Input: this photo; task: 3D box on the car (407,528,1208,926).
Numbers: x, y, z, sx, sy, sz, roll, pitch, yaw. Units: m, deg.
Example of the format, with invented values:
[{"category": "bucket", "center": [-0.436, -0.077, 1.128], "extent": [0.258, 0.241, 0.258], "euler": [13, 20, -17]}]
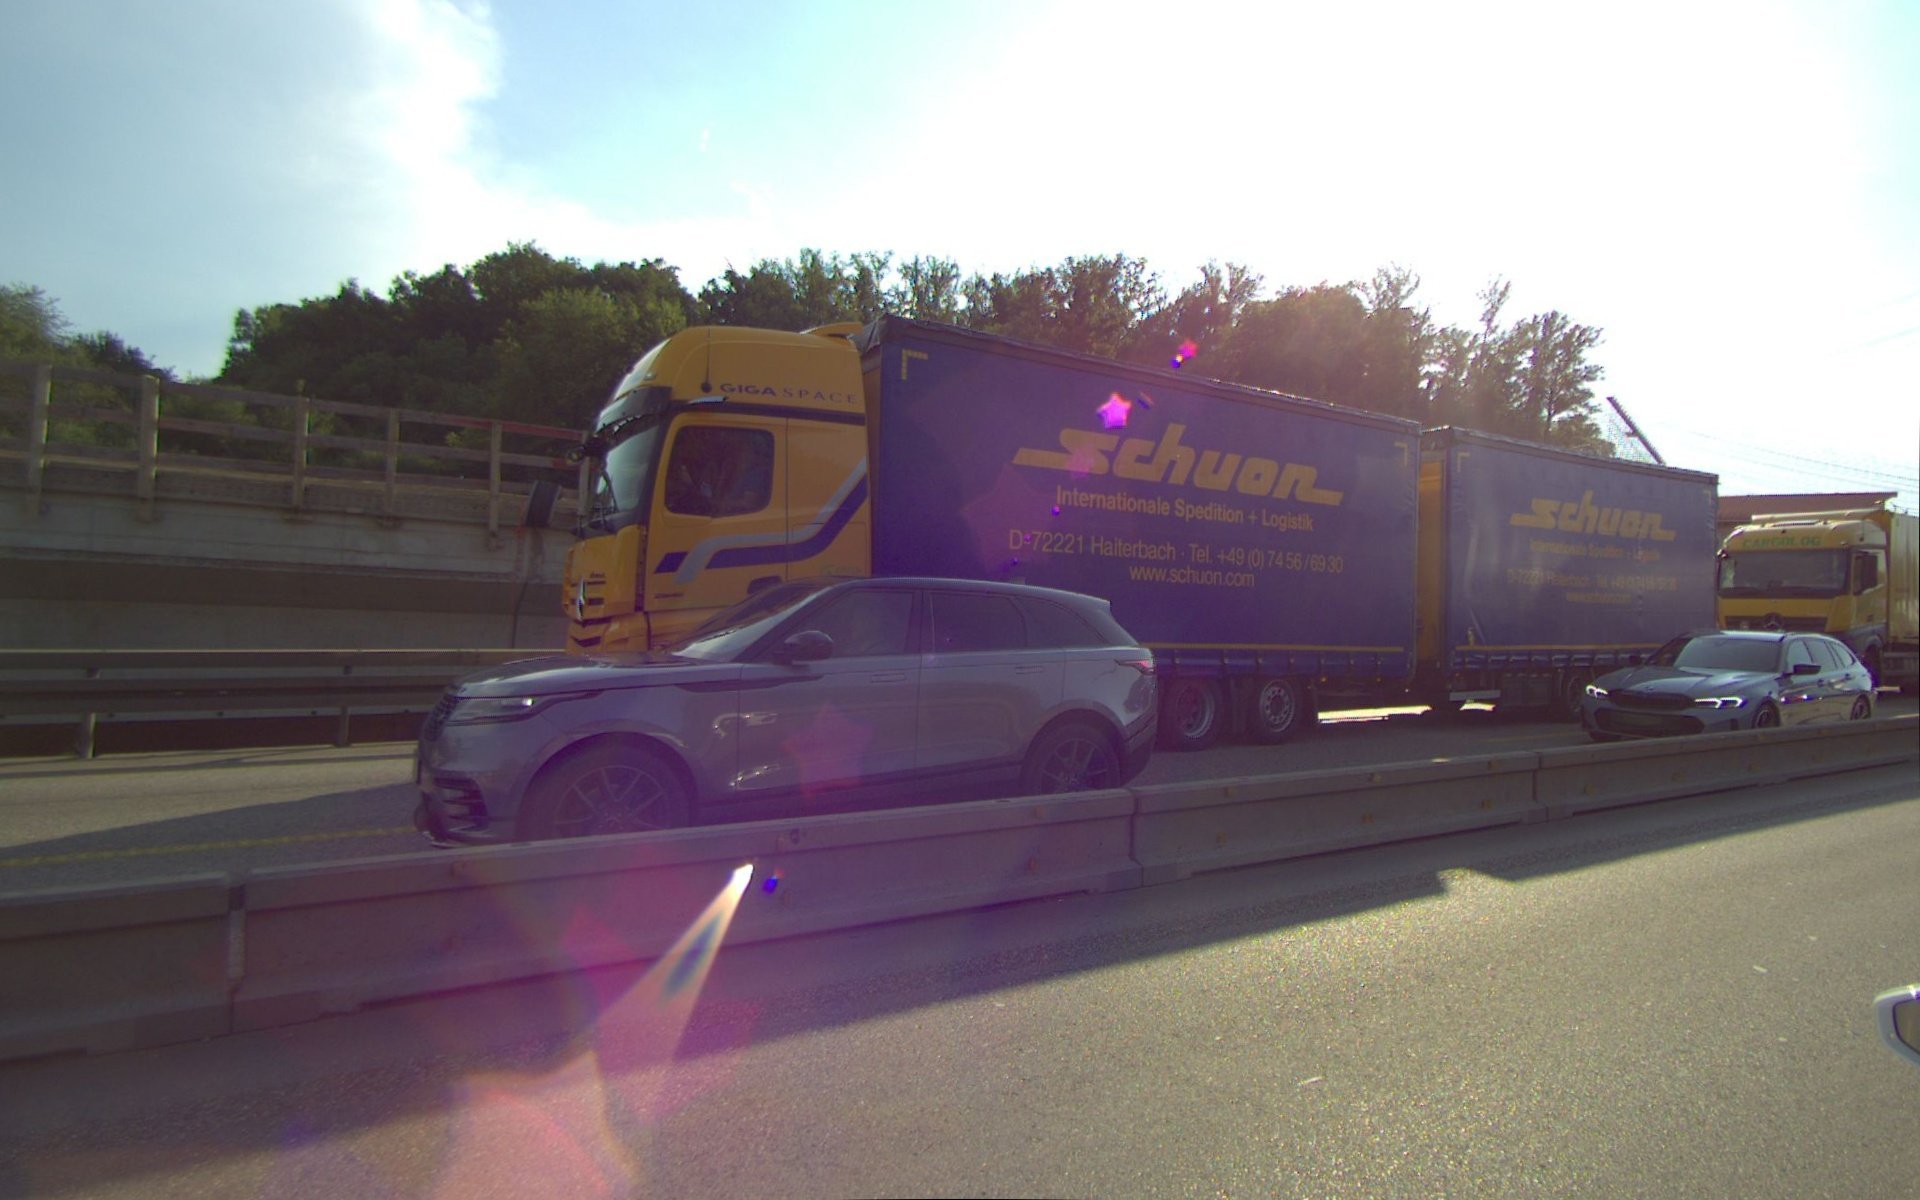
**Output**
[{"category": "car", "center": [-0.814, 0.655, 6.383], "extent": [4.638, 1.724, 1.917], "euler": [3, -2, -31]}]

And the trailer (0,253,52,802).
[{"category": "trailer", "center": [-13.462, -0.742, 2.780], "extent": [15.855, 3.865, 2.737], "euler": [2, -2, -30]}]

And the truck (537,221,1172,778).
[{"category": "truck", "center": [-0.949, -0.632, 10.184], "extent": [5.729, 4.195, 2.688], "euler": [3, -2, -31]}]

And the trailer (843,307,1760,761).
[{"category": "trailer", "center": [6.461, -0.259, 14.726], "extent": [16.562, 4.189, 2.701], "euler": [3, -2, -31]}]

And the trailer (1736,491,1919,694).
[{"category": "trailer", "center": [25.425, 0.186, 26.453], "extent": [15.823, 4.259, 2.686], "euler": [3, -2, -32]}]

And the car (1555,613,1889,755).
[{"category": "car", "center": [9.735, 1.005, 12.730], "extent": [4.670, 1.517, 1.779], "euler": [3, -2, -31]}]

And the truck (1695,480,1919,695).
[{"category": "truck", "center": [18.744, -0.144, 22.170], "extent": [4.351, 4.252, 2.679], "euler": [3, -2, -32]}]
